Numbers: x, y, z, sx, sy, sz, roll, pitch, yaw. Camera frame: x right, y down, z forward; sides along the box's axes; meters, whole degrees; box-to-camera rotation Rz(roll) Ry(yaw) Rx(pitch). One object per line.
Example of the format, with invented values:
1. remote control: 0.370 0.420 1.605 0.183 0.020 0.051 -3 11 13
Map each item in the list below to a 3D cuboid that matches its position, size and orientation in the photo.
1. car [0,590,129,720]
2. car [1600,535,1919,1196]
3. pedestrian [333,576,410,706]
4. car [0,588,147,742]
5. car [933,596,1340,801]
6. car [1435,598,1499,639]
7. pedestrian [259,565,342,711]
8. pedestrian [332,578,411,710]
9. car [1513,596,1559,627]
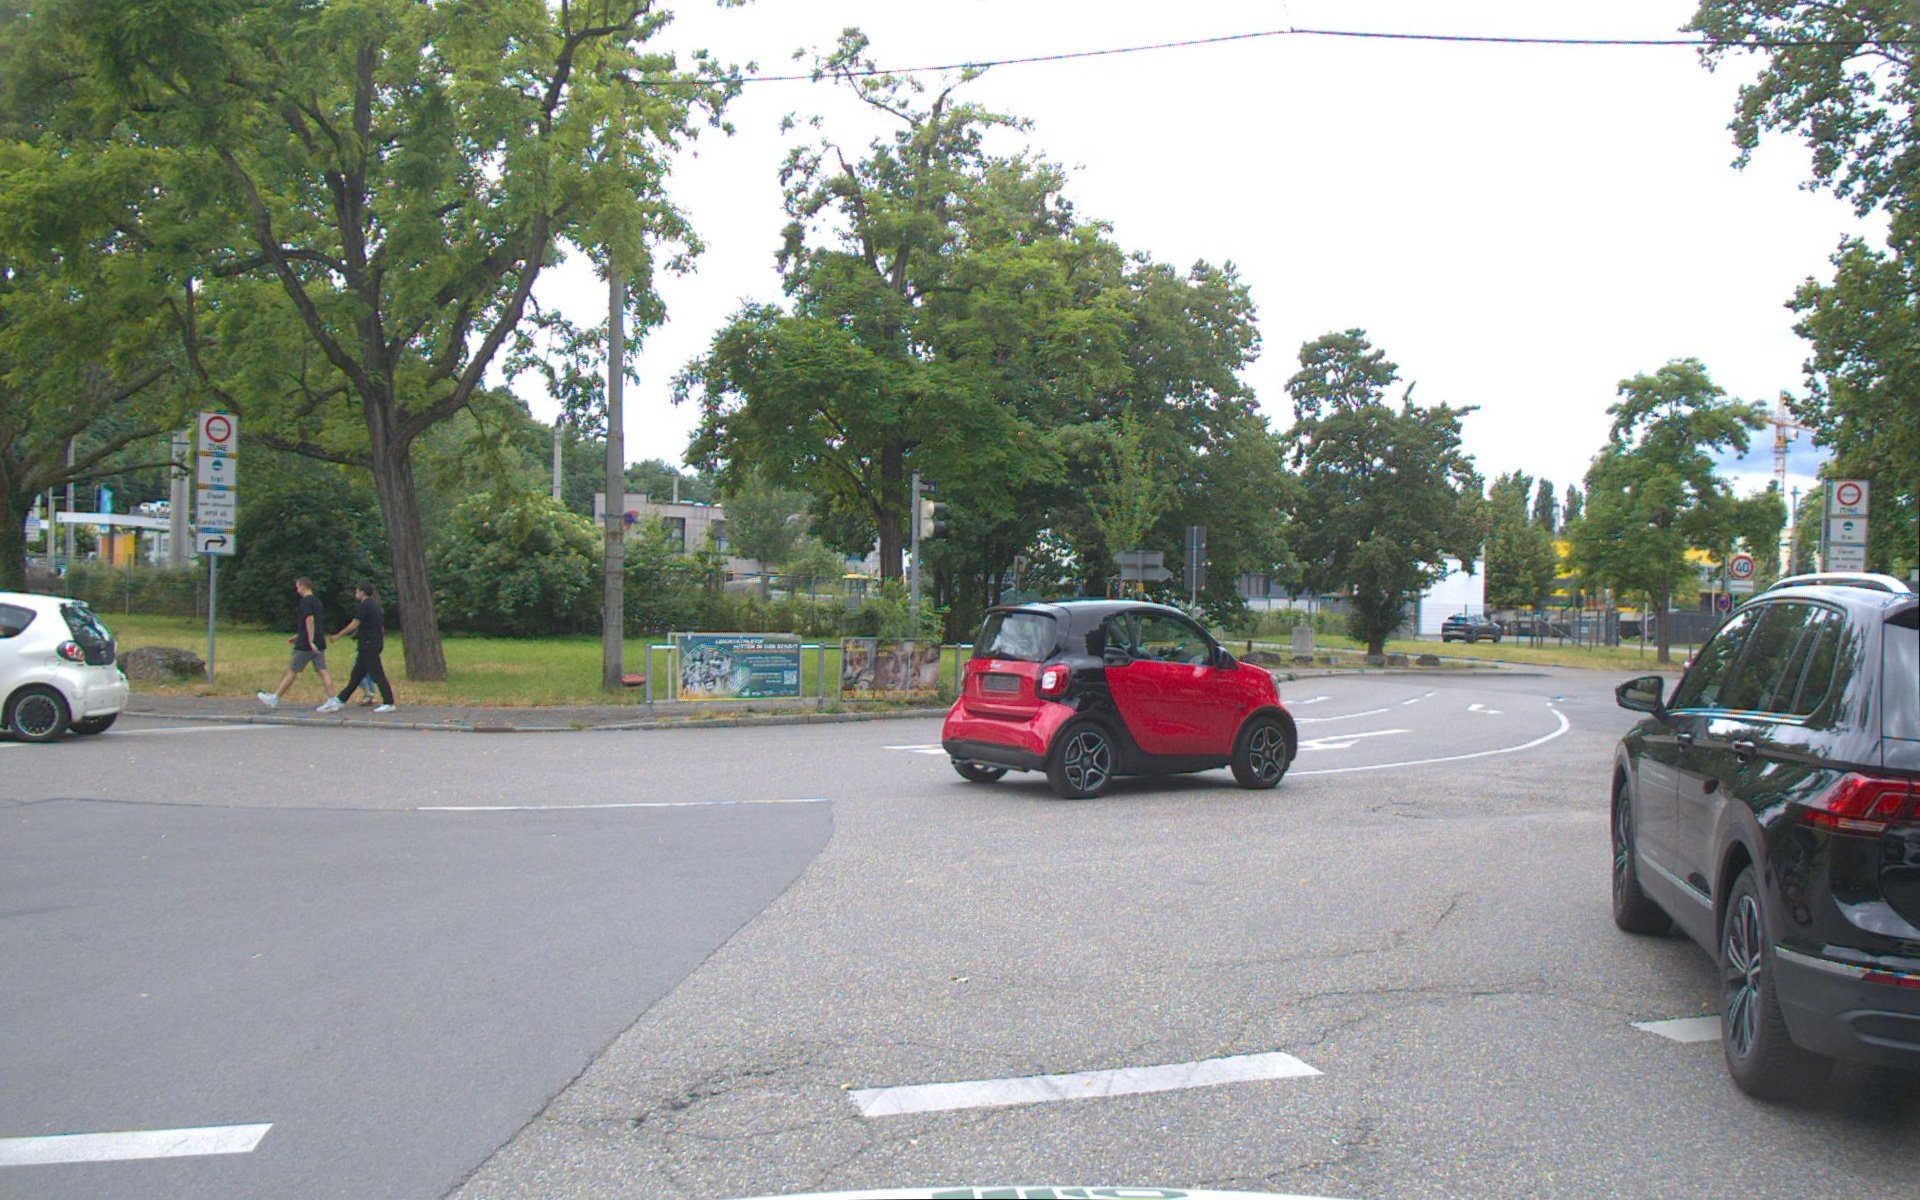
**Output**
1. car: -12.185 0.613 20.152 3.346 1.482 1.645 1 -1 11
2. car: 3.605 0.696 6.046 1.805 1.664 4.189 3 1 14
3. pedestrian: -8.246 0.564 23.200 0.769 1.770 0.696 1 0 4
4. car: -10.230 0.613 16.577 3.357 1.457 1.641 1 0 -10
5. car: 1.481 0.746 13.790 2.982 1.490 1.698 1 1 -32
6. car: 27.047 1.007 88.176 1.931 2.048 4.203 2 1 36
7. pedestrian: -8.754 0.493 21.989 0.769 1.889 0.696 1 0 4
8. pedestrian: -7.961 0.587 22.394 0.769 1.744 0.696 1 0 4
9. car: 40.544 0.793 116.340 1.931 2.048 4.203 2 1 36
